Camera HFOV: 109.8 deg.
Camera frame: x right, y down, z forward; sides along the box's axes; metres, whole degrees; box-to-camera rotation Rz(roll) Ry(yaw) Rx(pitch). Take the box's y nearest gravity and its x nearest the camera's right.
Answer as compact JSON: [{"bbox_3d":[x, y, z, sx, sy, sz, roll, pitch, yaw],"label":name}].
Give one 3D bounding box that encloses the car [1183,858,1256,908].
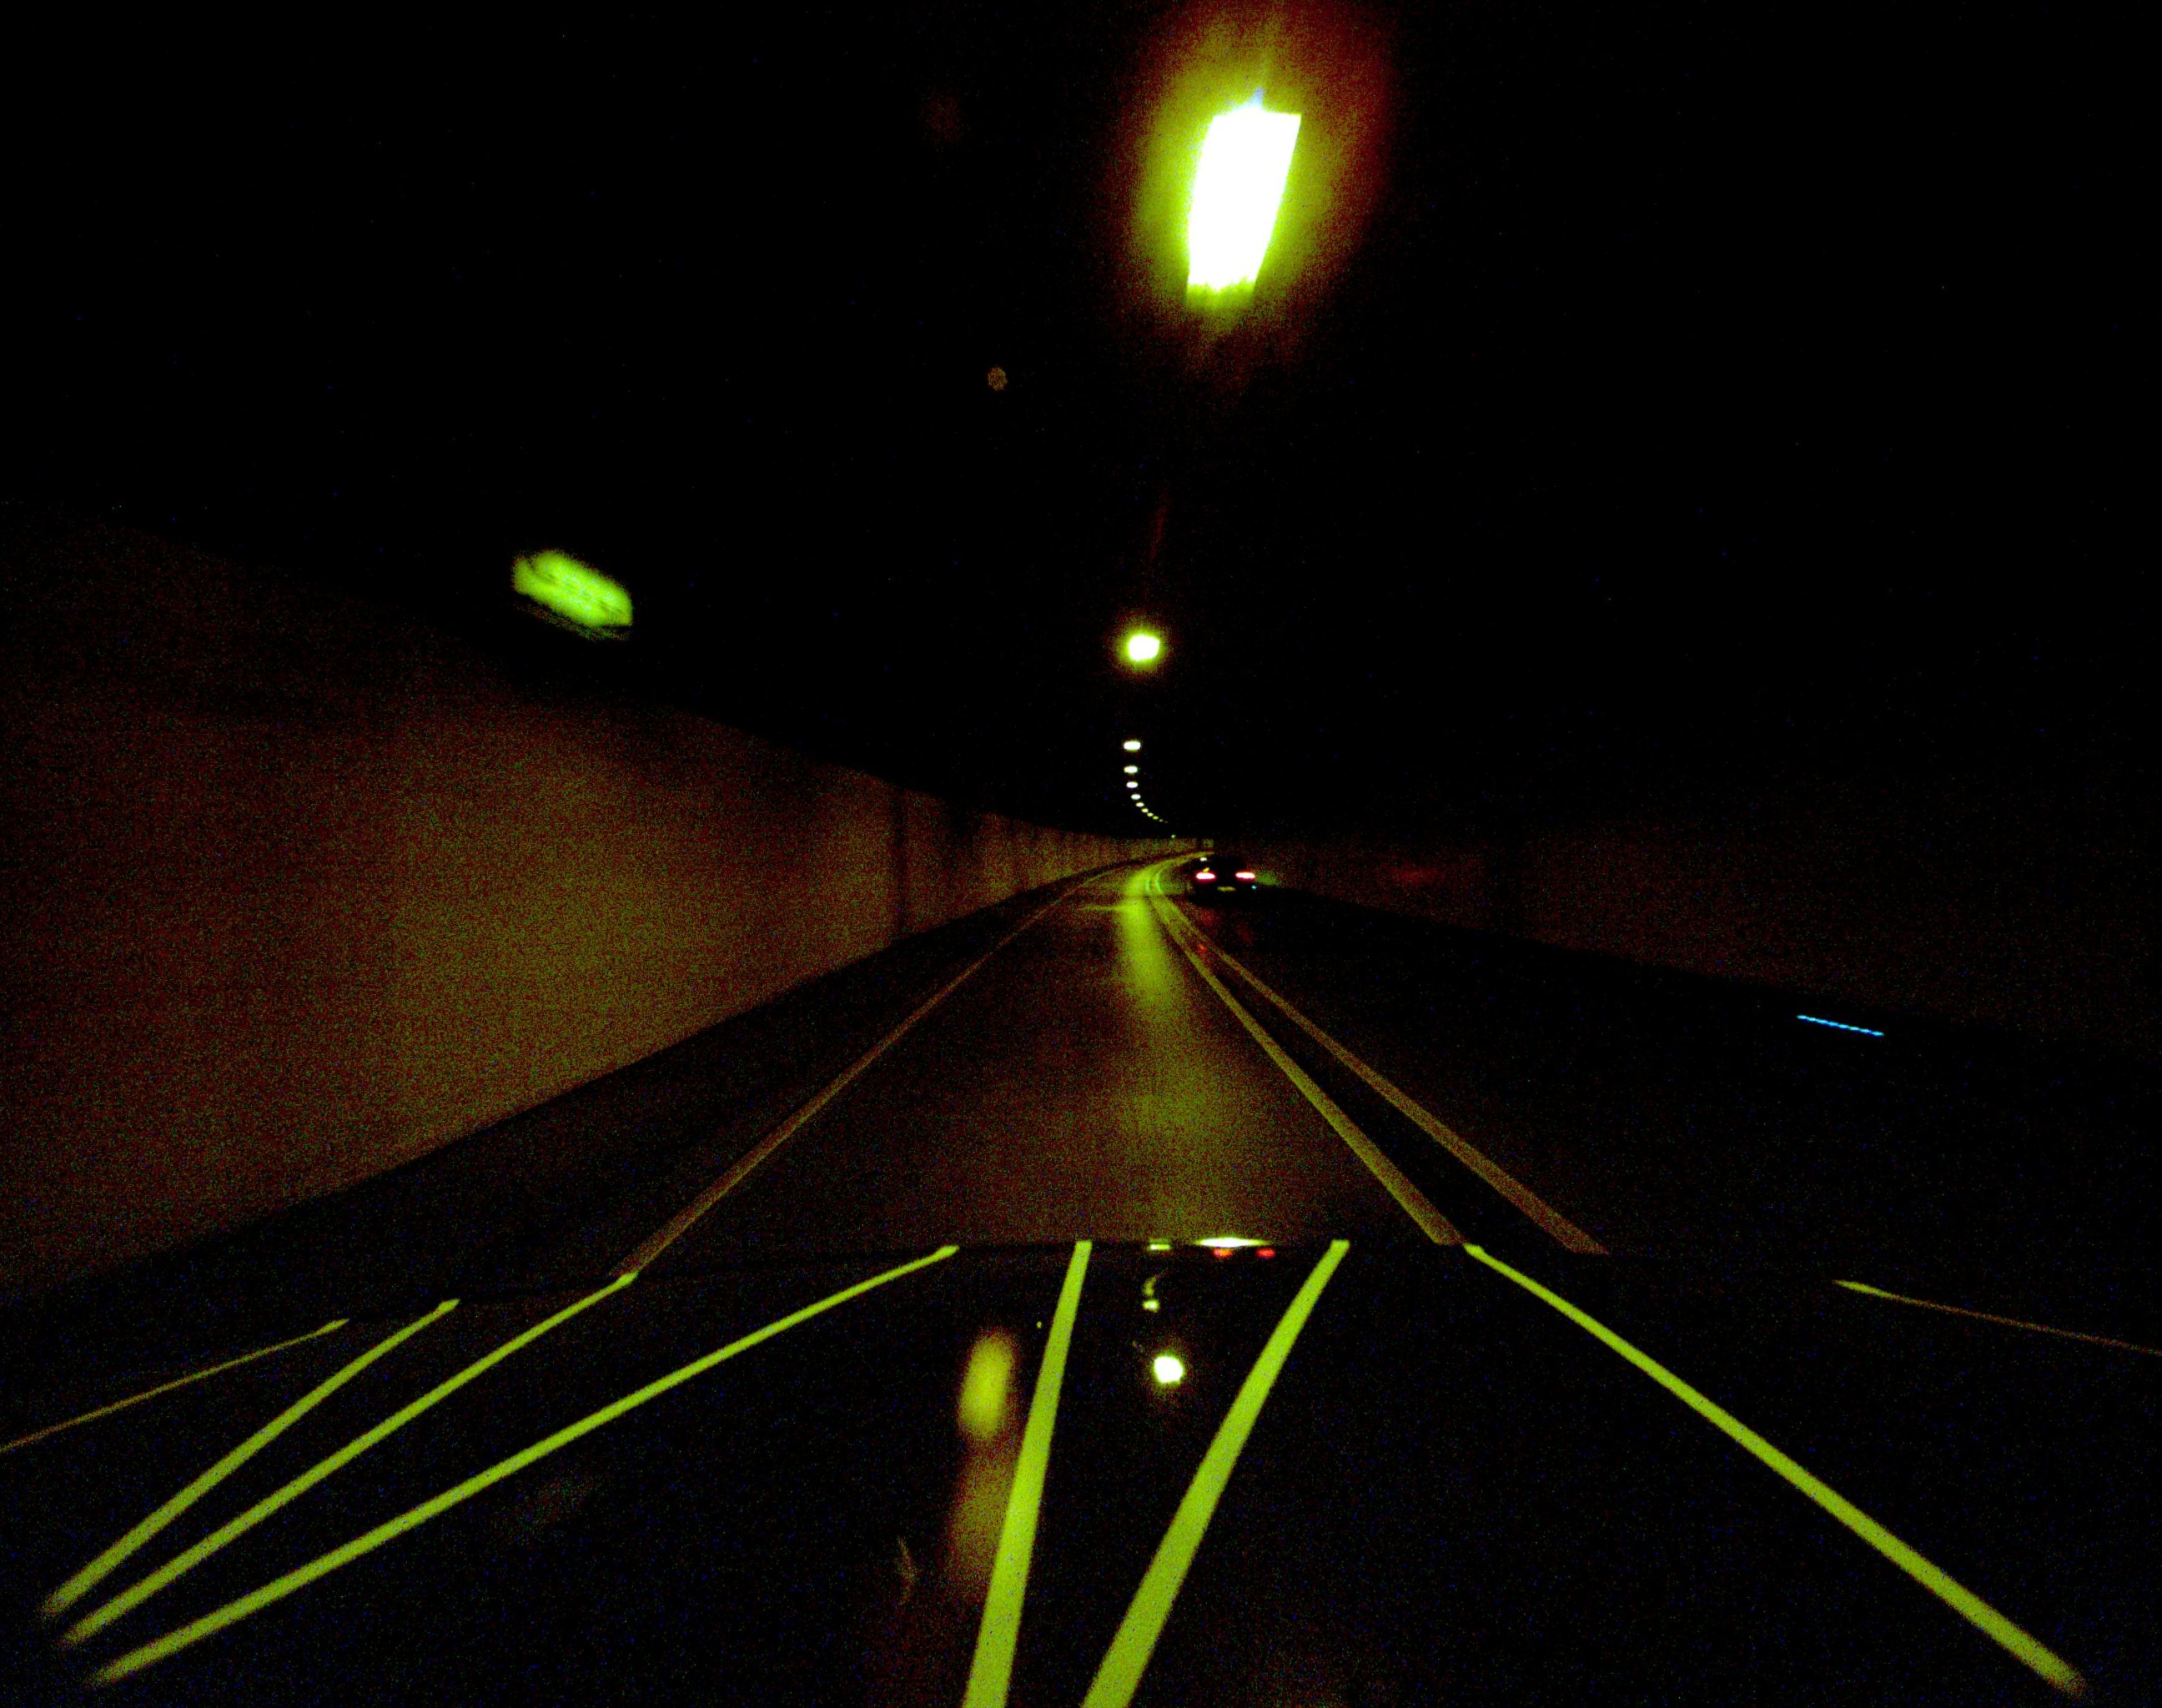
[{"bbox_3d":[4.275,0.849,23.957,1.711,1.407,4.118,-1,0,2],"label":"car"}]
